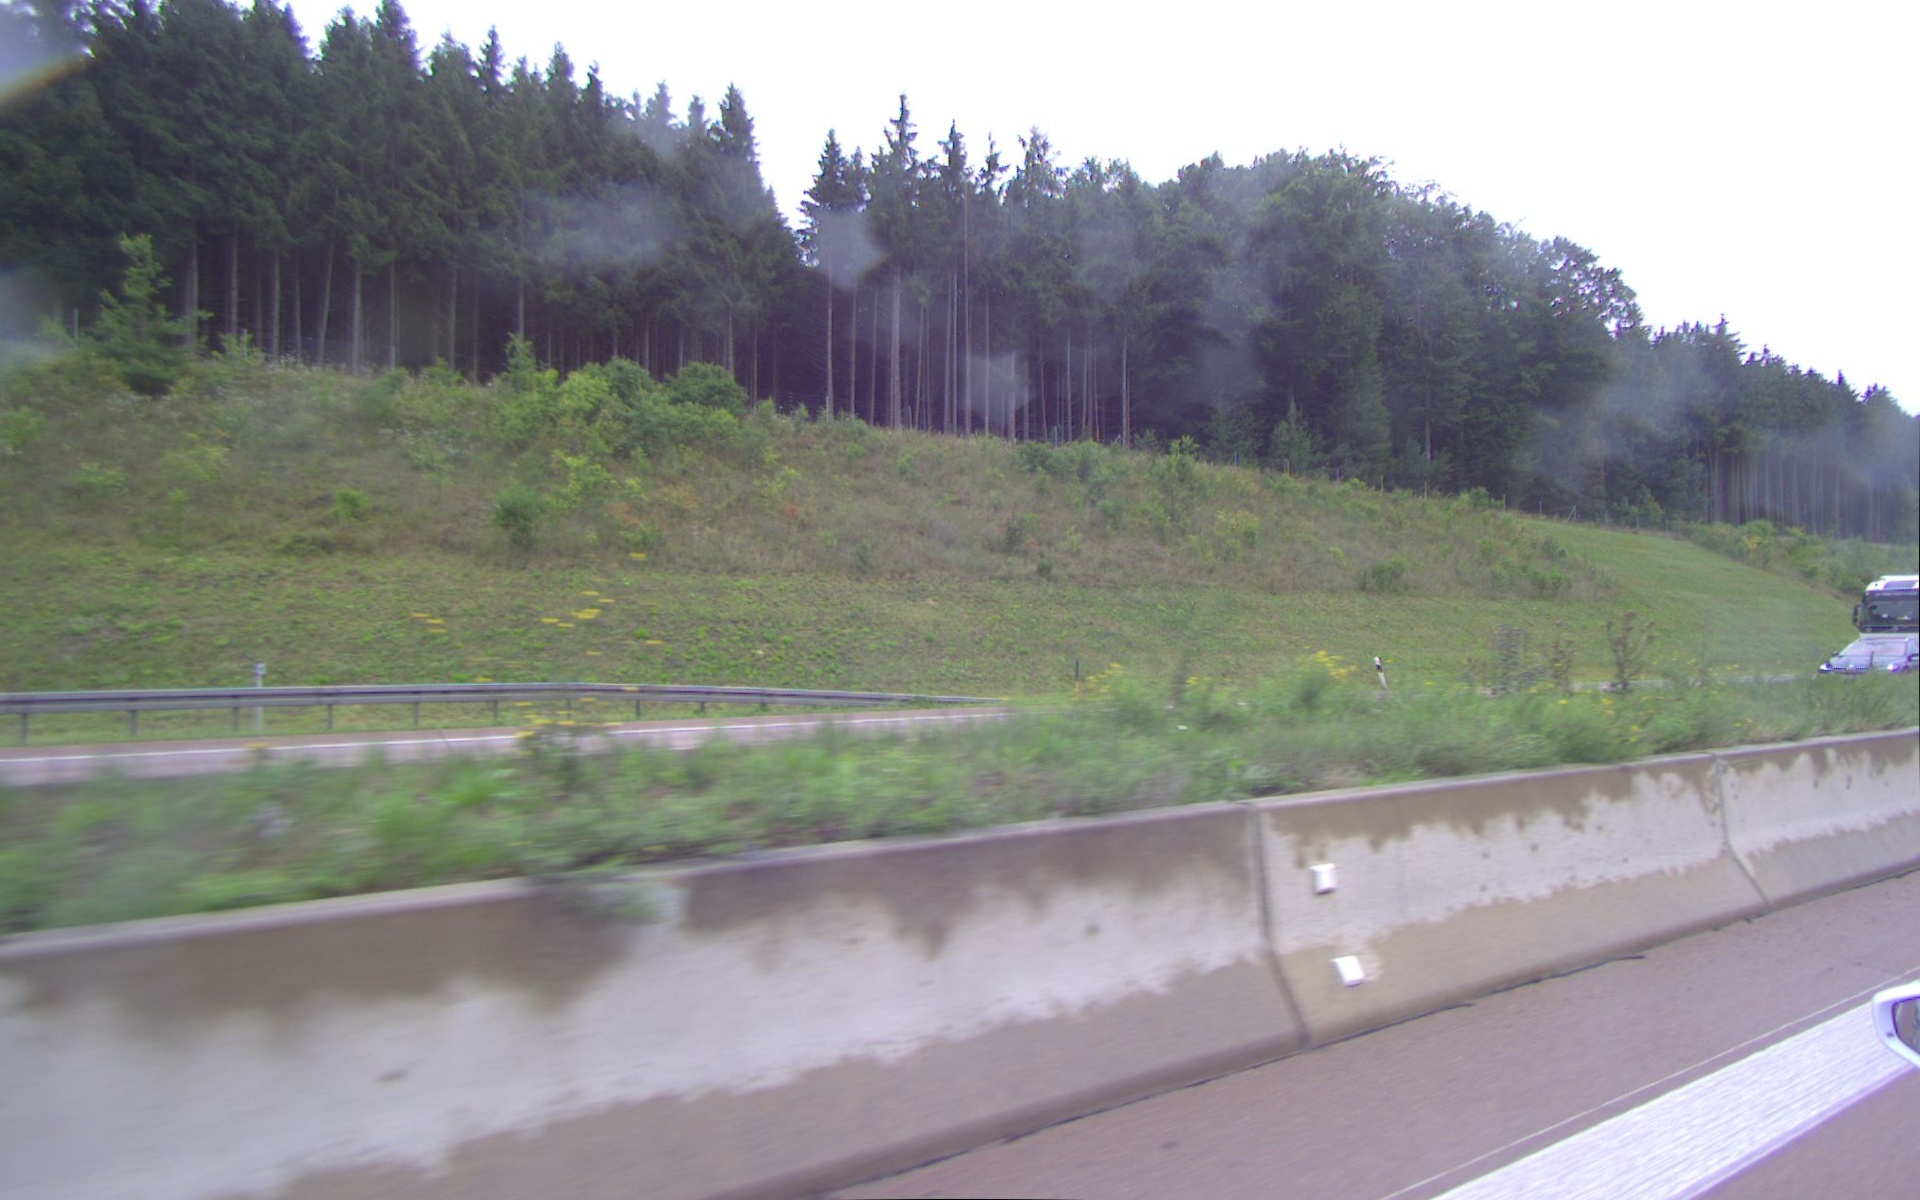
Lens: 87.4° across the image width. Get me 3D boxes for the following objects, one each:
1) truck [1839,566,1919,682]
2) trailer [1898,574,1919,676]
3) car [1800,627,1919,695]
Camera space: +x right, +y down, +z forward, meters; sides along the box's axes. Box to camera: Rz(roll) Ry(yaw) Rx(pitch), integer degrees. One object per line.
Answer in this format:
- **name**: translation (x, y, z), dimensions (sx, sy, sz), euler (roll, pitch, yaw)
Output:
- **truck**: translation (39.517, 1.008, 41.285), dimensions (7.318, 4.448, 2.910), euler (2, 0, -31)
- **trailer**: translation (47.474, 1.287, 46.011), dimensions (13.422, 4.397, 2.904), euler (2, 0, -31)
- **car**: translation (26.520, 1.702, 28.563), dimensions (6.309, 1.715, 2.038), euler (2, 0, -30)
